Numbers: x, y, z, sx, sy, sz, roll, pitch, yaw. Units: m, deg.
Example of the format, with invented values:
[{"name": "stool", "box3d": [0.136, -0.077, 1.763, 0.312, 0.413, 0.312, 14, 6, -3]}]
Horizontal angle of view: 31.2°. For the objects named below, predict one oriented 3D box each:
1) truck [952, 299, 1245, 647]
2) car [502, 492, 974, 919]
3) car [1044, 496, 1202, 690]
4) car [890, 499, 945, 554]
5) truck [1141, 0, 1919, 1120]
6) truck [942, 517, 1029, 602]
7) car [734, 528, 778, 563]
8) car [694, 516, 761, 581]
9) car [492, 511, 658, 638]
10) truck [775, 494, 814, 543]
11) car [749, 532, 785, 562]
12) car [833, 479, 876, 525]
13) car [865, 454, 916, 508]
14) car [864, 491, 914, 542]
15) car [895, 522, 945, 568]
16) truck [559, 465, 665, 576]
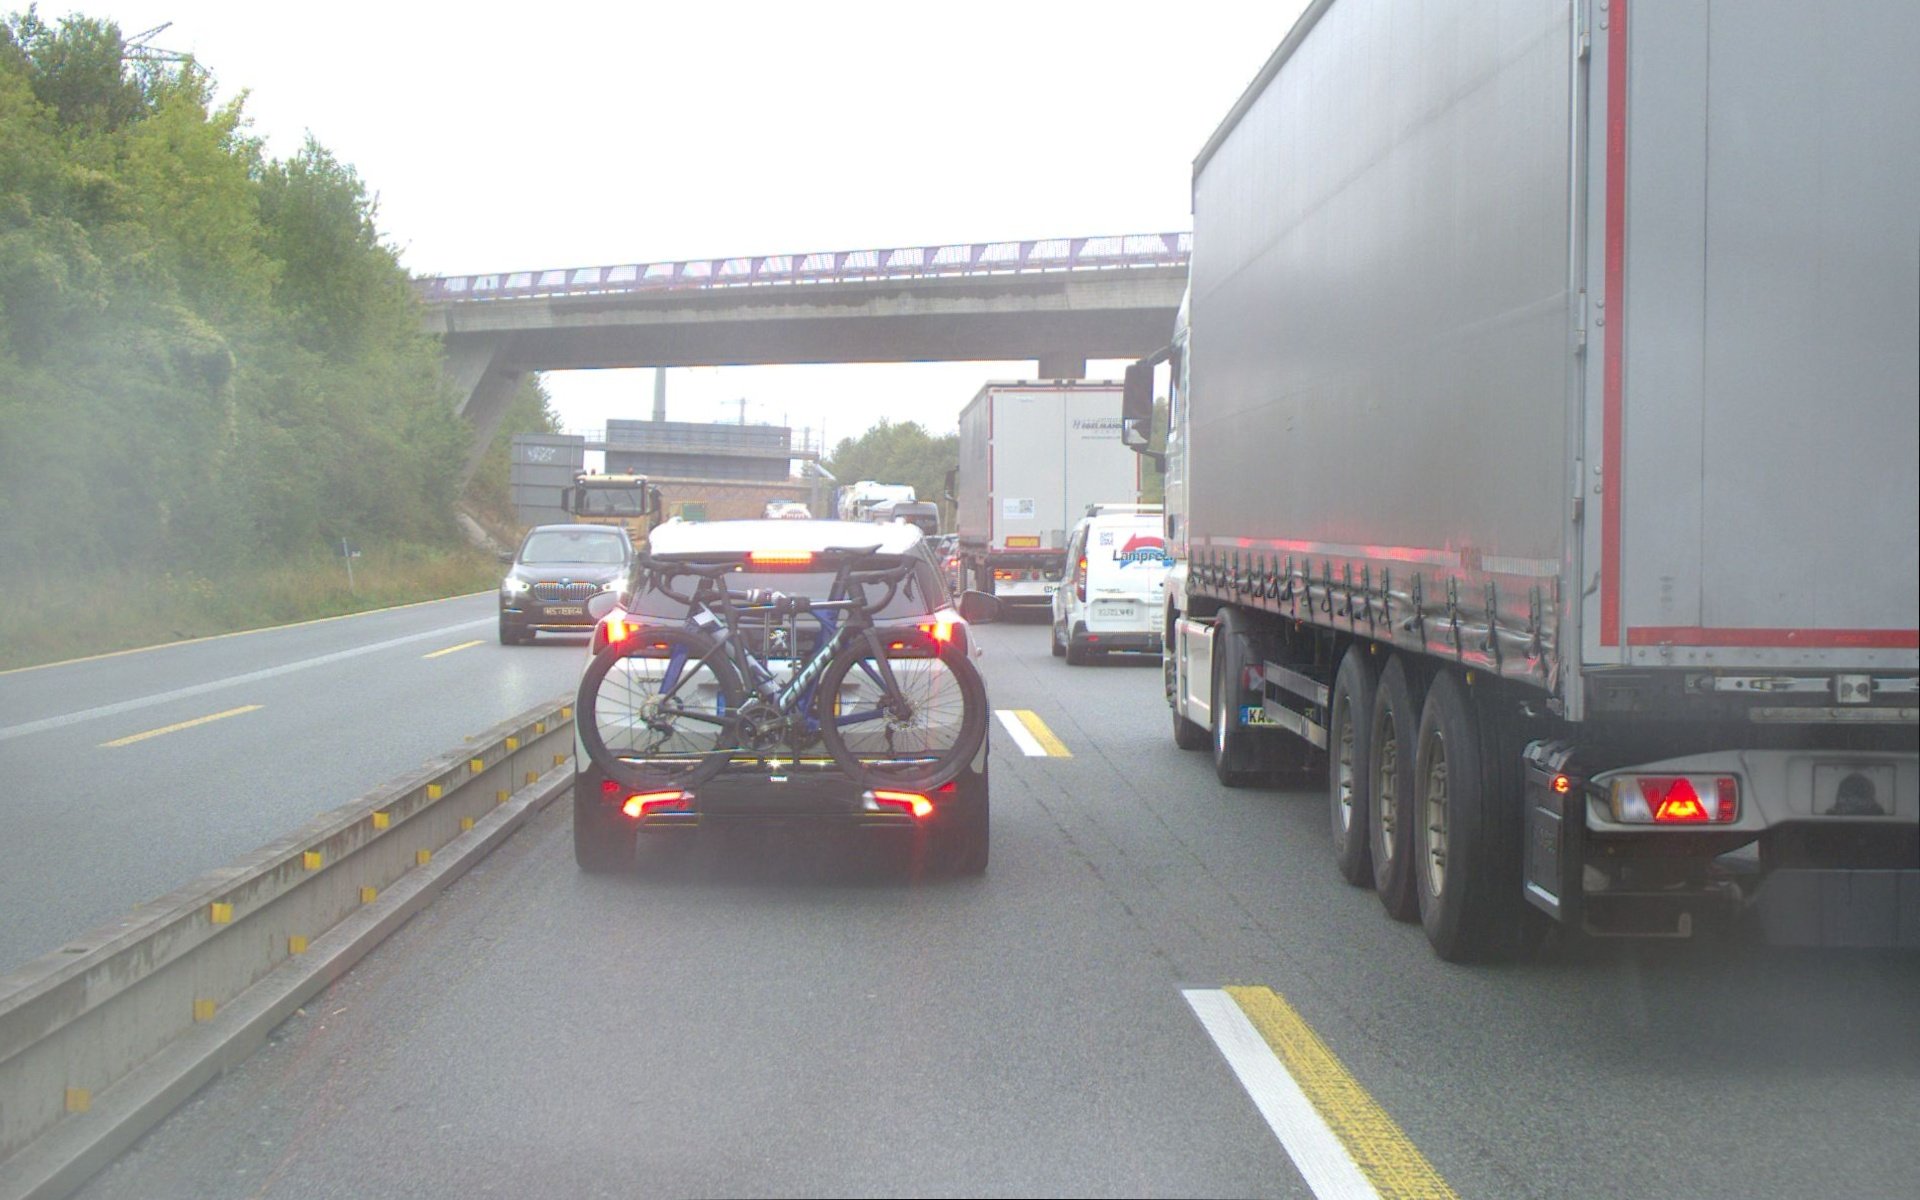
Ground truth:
[{"name": "truck", "box3d": [2.289, -2.212, 66.589, 4.743, 5.654, 20.376, 1, 1, 0]}, {"name": "car", "box3d": [-0.853, 0.377, 15.621, 1.810, 1.632, 4.636, 1, 1, 0]}, {"name": "car", "box3d": [1.898, -0.111, 41.203, 1.670, 2.173, 4.535, 1, 1, 0]}, {"name": "car", "box3d": [-1.598, -2.722, 128.190, 1.993, 2.007, 4.000, 1, 1, -1]}, {"name": "truck", "box3d": [3.522, -1.653, 18.721, 3.979, 5.654, 20.376, 1, 1, 0]}, {"name": "truck", "box3d": [0.592, -0.992, 84.017, 1.993, 2.007, 4.000, 1, 1, -1]}, {"name": "car", "box3d": [-8.263, -2.205, 139.513, 1.686, 1.404, 3.931, 1, 1, -3]}, {"name": "car", "box3d": [-6.690, -1.488, 99.297, 1.810, 1.817, 4.636, 1, 1, -3]}, {"name": "car", "box3d": [-5.172, -0.353, 46.613, 1.810, 1.627, 4.118, 1, 1, -1]}, {"name": "truck", "box3d": [-11.695, -5.751, 243.653, 2.535, 3.341, 12.051, 1, 1, -2]}, {"name": "car", "box3d": [-9.275, -2.550, 165.195, 1.686, 1.404, 3.931, 1, 1, -3]}, {"name": "car", "box3d": [-5.004, -4.652, 163.547, 1.993, 2.119, 4.527, 1, 1, -1]}, {"name": "car", "box3d": [-3.092, -5.301, 153.567, 2.239, 2.299, 4.572, 1, 1, -1]}, {"name": "car", "box3d": [-2.877, -3.405, 140.680, 1.993, 2.007, 4.000, 1, 1, -1]}, {"name": "car", "box3d": [-1.346, -1.826, 114.507, 1.638, 1.492, 3.666, 1, 1, -1]}, {"name": "truck", "box3d": [-11.079, -2.505, 110.287, 2.535, 3.341, 12.051, 1, 1, -2]}]
